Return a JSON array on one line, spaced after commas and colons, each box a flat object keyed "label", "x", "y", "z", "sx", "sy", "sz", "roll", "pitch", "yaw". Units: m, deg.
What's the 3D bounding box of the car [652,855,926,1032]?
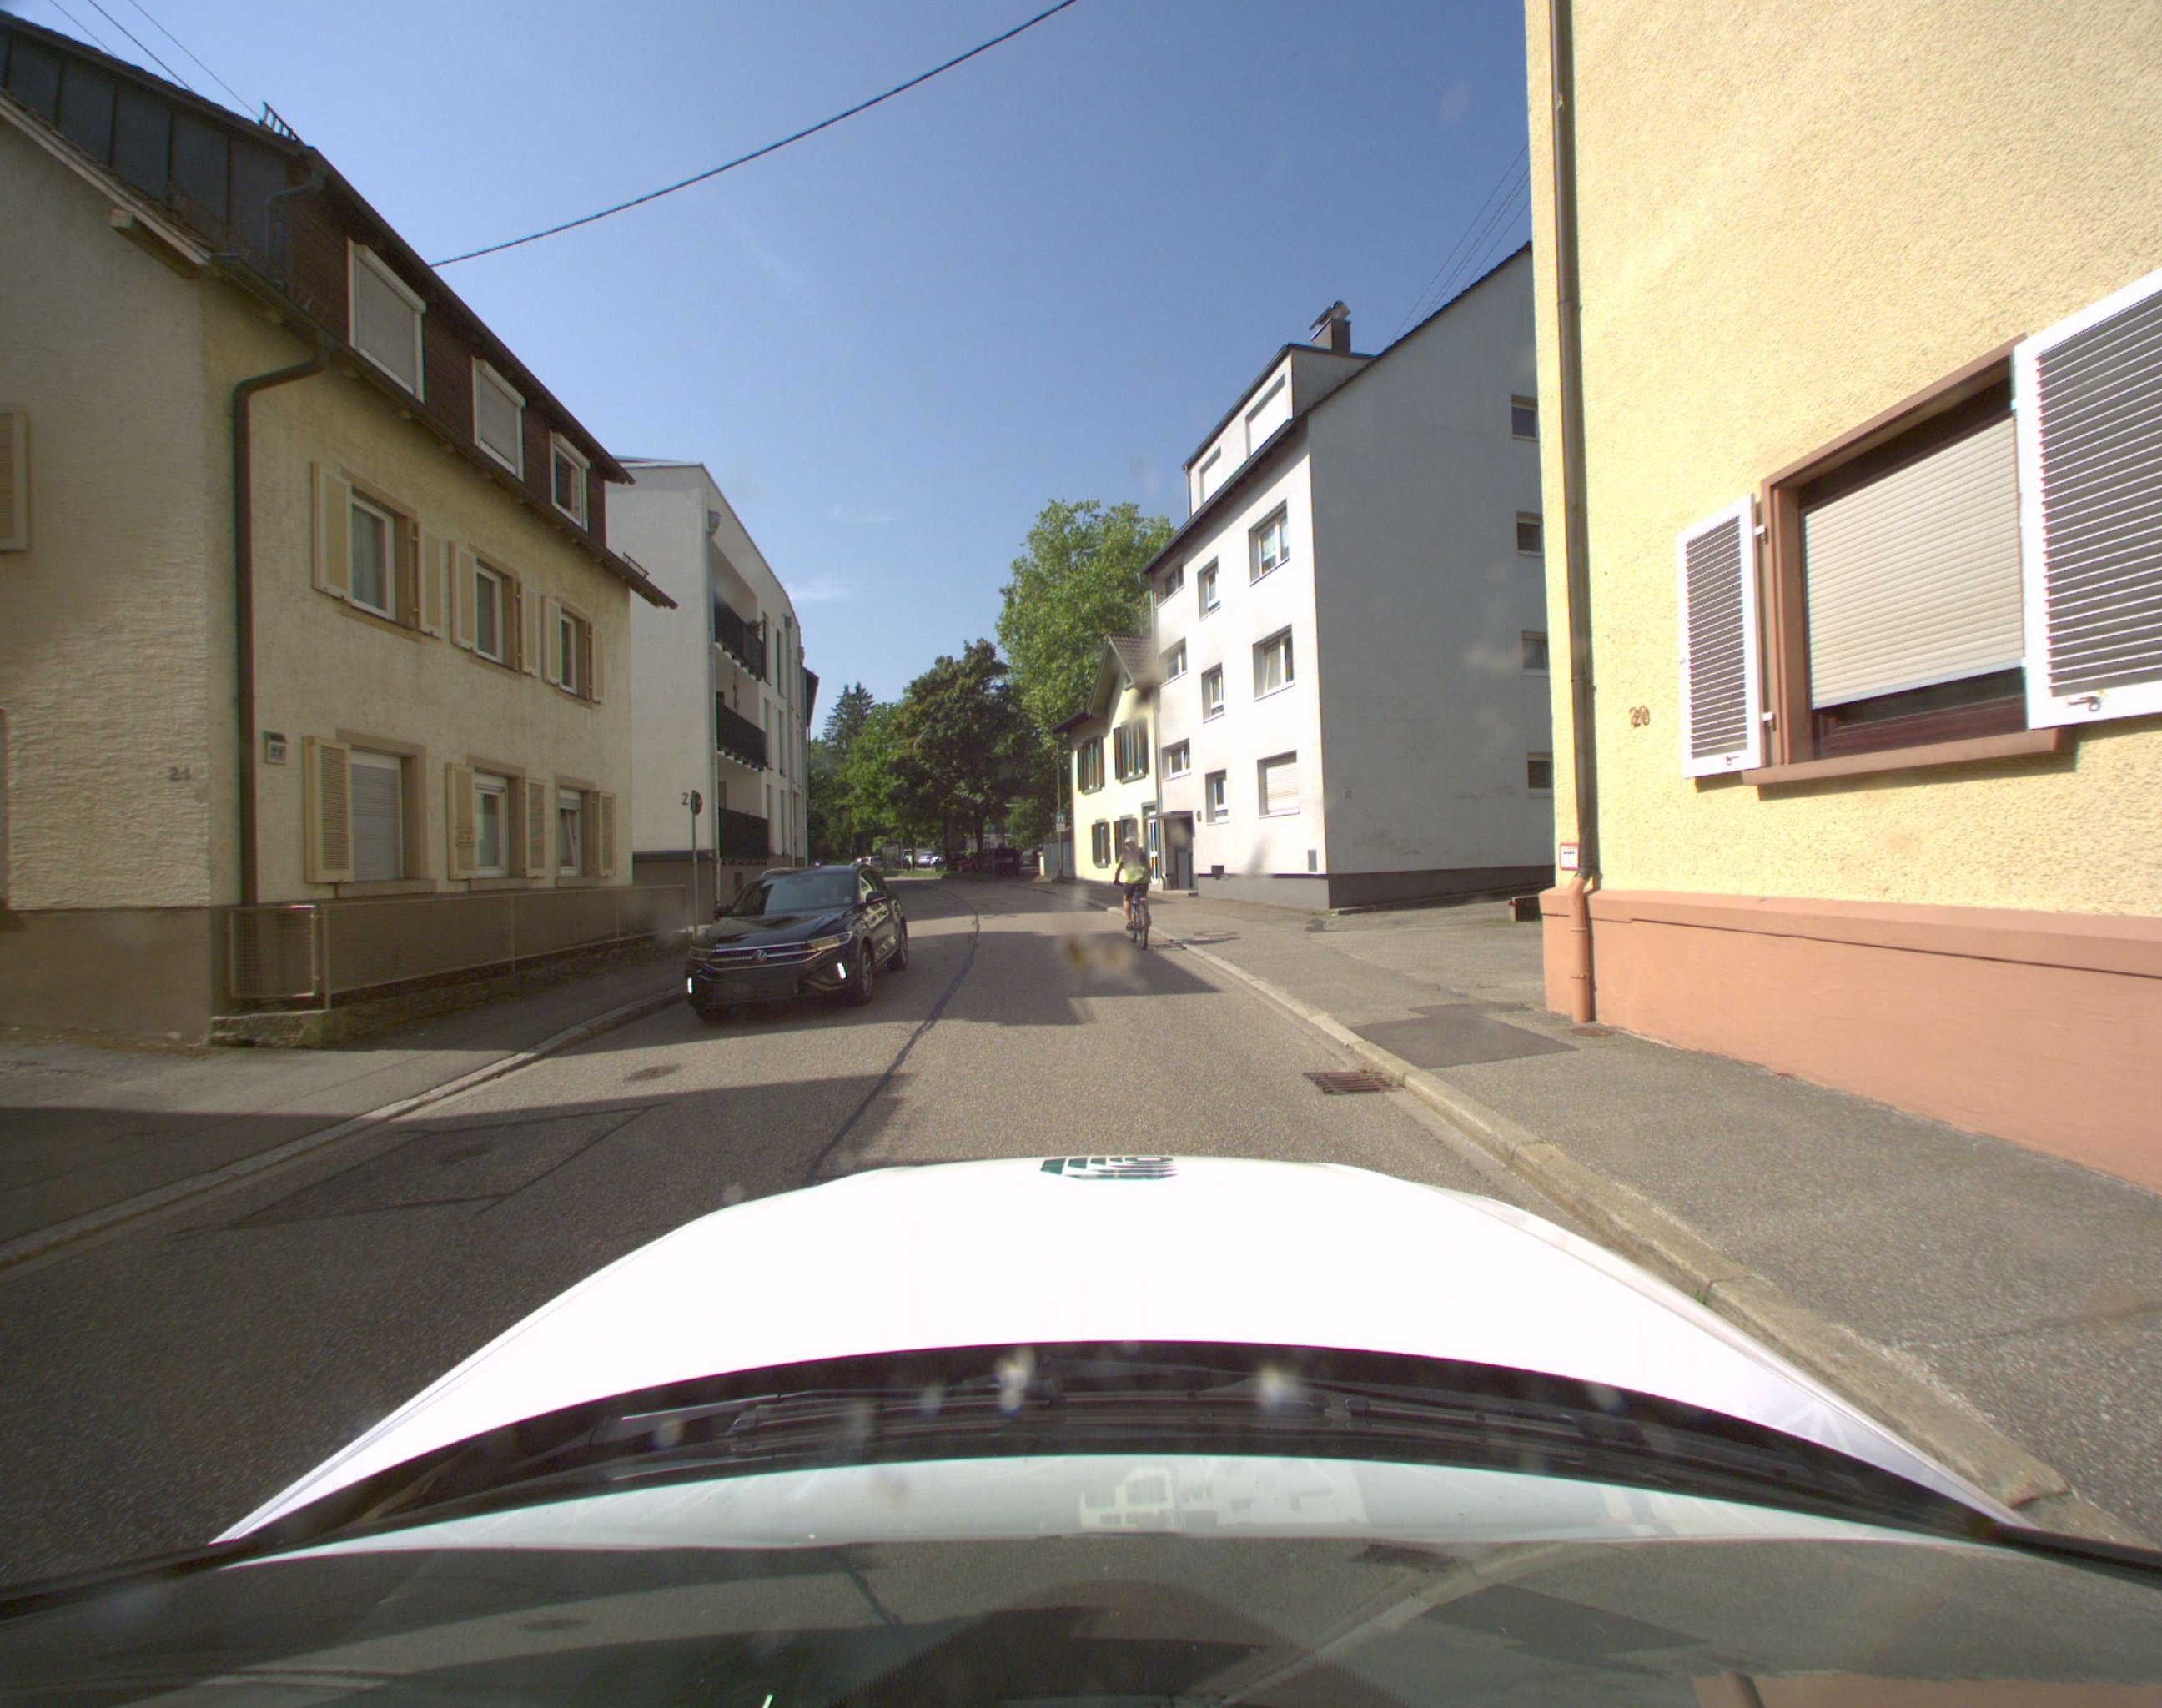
[{"label": "car", "x": -3.218, "y": 0.874, "z": 9.919, "sx": 1.818, "sy": 1.537, "sz": 3.998, "roll": -5, "pitch": 0, "yaw": -1}]

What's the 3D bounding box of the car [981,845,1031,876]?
[{"label": "car", "x": -4.828, "y": 0.372, "z": 51.751, "sx": 1.832, "sy": 1.791, "sz": 3.967, "roll": -3, "pitch": 2, "yaw": -26}]

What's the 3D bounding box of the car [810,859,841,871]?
[{"label": "car", "x": -34.355, "y": 1.454, "z": 109.480, "sx": 3.386, "sy": 1.528, "sz": 1.967, "roll": -2, "pitch": 0, "yaw": 20}]

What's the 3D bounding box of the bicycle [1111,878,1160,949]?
[{"label": "bicycle", "x": 0.862, "y": 0.935, "z": 13.222, "sx": 0.696, "sy": 1.035, "sz": 1.471, "roll": -1, "pitch": 0, "yaw": 1}]

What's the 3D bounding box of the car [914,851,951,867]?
[{"label": "car", "x": -15.057, "y": 0.497, "z": 82.659, "sx": 1.794, "sy": 1.552, "sz": 4.020, "roll": -2, "pitch": 0, "yaw": 20}]

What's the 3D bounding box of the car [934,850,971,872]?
[{"label": "car", "x": -9.901, "y": 0.496, "z": 62.599, "sx": 1.717, "sy": 1.542, "sz": 3.967, "roll": -3, "pitch": 2, "yaw": -26}]

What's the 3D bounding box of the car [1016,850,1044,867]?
[{"label": "car", "x": -4.114, "y": 0.373, "z": 65.102, "sx": 1.584, "sy": 1.257, "sz": 3.841, "roll": -3, "pitch": 0, "yaw": -12}]

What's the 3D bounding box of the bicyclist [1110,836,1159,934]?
[{"label": "bicyclist", "x": 0.852, "y": 0.494, "z": 13.231, "sx": 0.683, "sy": 1.531, "sz": 0.715, "roll": -3, "pitch": -1, "yaw": -1}]

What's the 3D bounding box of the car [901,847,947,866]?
[{"label": "car", "x": -16.658, "y": 0.214, "z": 86.473, "sx": 1.974, "sy": 1.855, "sz": 4.731, "roll": -2, "pitch": 0, "yaw": 34}]

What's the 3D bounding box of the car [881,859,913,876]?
[{"label": "car", "x": -17.102, "y": 1.281, "z": 75.616, "sx": 1.686, "sy": 1.468, "sz": 3.372, "roll": -2, "pitch": 0, "yaw": -37}]

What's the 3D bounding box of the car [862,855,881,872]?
[{"label": "car", "x": -20.621, "y": 0.906, "z": 80.029, "sx": 1.747, "sy": 1.552, "sz": 3.733, "roll": -2, "pitch": 0, "yaw": -16}]
